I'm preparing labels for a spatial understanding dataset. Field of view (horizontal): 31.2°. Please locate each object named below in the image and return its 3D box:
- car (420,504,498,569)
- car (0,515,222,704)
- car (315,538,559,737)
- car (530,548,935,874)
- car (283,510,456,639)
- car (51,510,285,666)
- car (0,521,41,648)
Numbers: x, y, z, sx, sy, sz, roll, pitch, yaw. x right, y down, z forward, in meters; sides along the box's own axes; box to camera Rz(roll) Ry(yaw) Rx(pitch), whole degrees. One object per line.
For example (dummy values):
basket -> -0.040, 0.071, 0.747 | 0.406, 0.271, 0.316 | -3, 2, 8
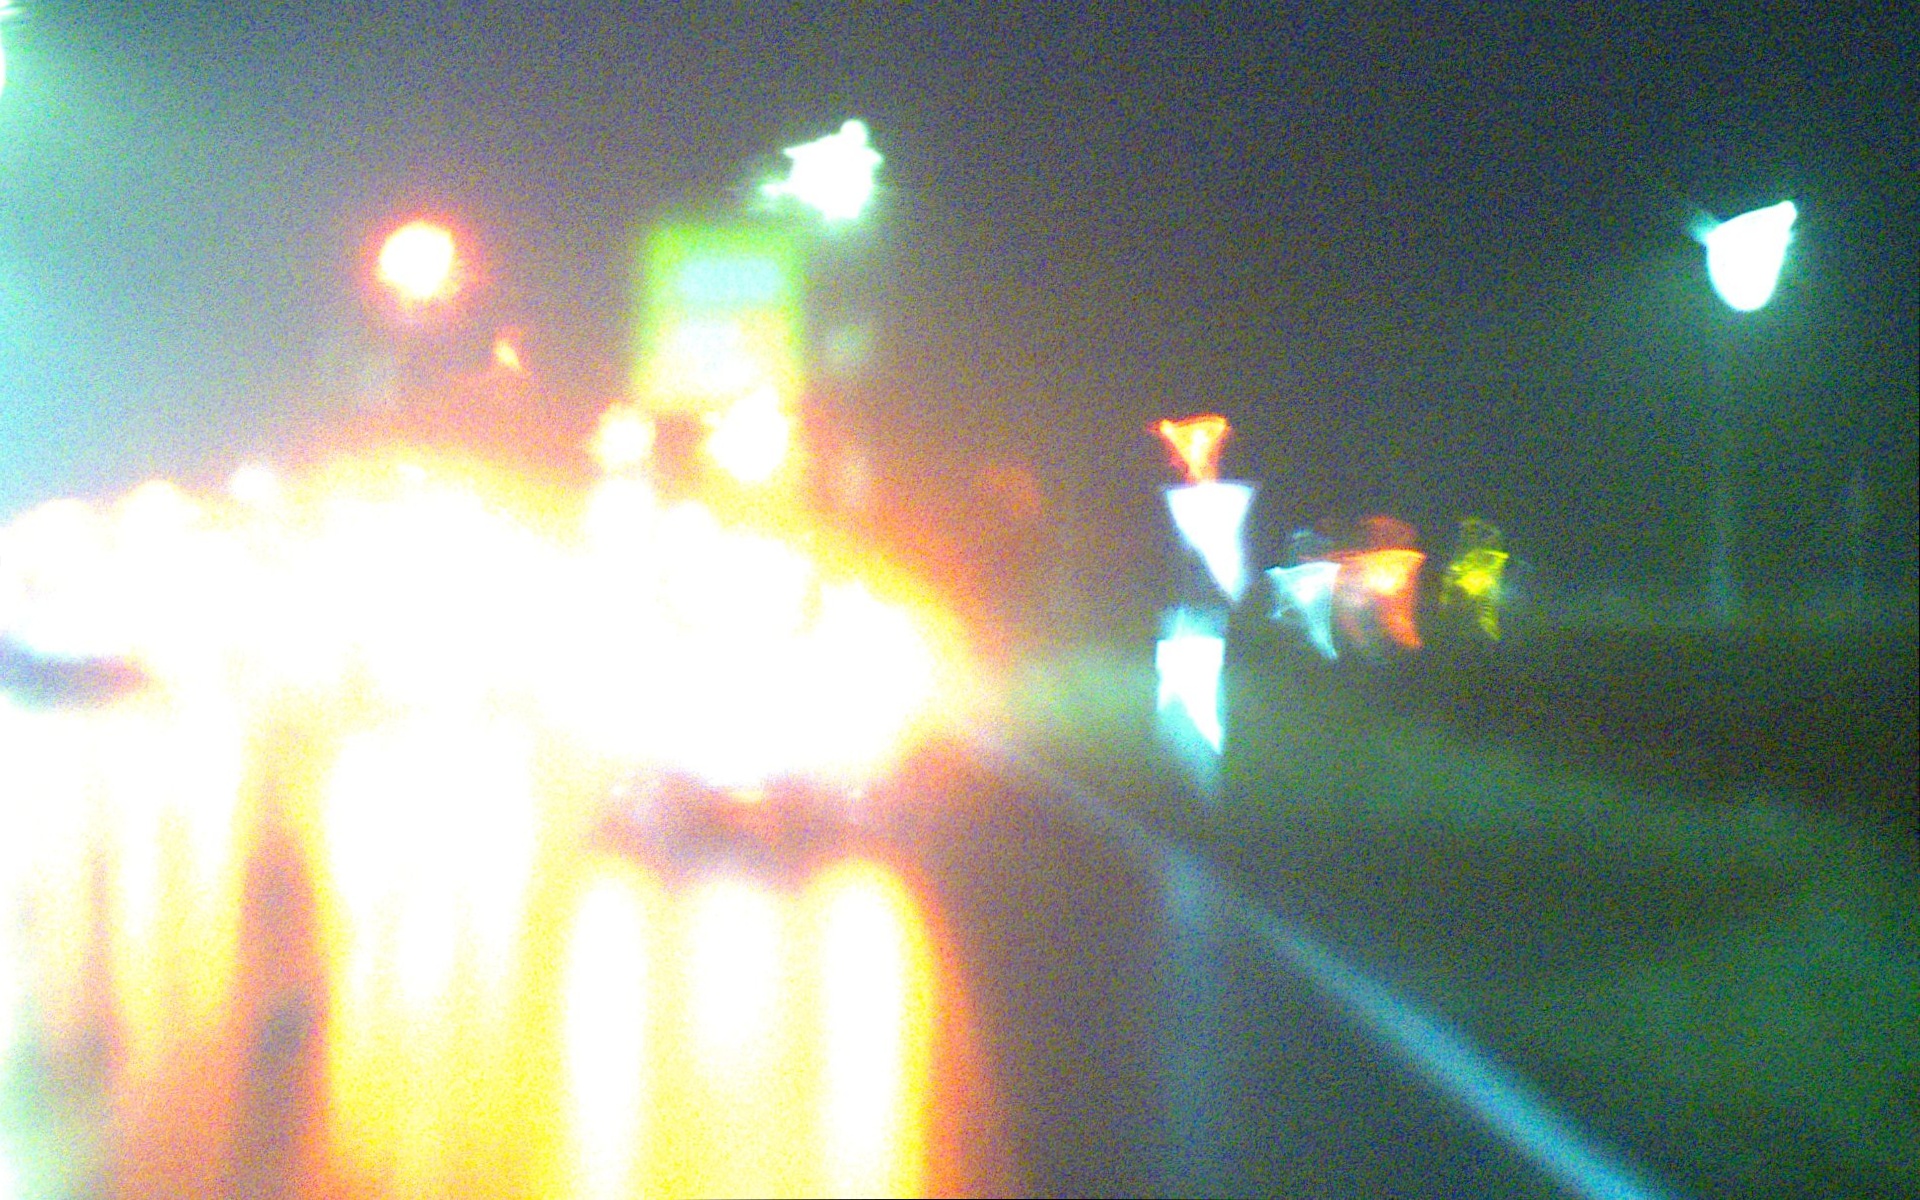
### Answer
car -> -13.798, -1.772, 94.780 | 1.993, 1.622, 4.986 | -2, 2, -8
car -> -8.593, 0.036, 33.765 | 1.993, 1.622, 4.986 | -2, 2, -5
car -> -4.971, 0.286, 33.275 | 1.993, 1.622, 4.986 | -2, 2, -5
car -> -1.156, 0.541, 19.726 | 1.993, 1.622, 4.984 | 0, 0, 0
car -> -8.311, -0.414, 48.797 | 1.993, 1.622, 4.986 | -2, 2, -5
car -> -9.274, -0.199, 40.642 | 1.993, 1.622, 4.986 | -2, 2, -5
car -> -13.571, -0.165, 45.262 | 1.993, 1.622, 4.986 | -2, 2, -5
